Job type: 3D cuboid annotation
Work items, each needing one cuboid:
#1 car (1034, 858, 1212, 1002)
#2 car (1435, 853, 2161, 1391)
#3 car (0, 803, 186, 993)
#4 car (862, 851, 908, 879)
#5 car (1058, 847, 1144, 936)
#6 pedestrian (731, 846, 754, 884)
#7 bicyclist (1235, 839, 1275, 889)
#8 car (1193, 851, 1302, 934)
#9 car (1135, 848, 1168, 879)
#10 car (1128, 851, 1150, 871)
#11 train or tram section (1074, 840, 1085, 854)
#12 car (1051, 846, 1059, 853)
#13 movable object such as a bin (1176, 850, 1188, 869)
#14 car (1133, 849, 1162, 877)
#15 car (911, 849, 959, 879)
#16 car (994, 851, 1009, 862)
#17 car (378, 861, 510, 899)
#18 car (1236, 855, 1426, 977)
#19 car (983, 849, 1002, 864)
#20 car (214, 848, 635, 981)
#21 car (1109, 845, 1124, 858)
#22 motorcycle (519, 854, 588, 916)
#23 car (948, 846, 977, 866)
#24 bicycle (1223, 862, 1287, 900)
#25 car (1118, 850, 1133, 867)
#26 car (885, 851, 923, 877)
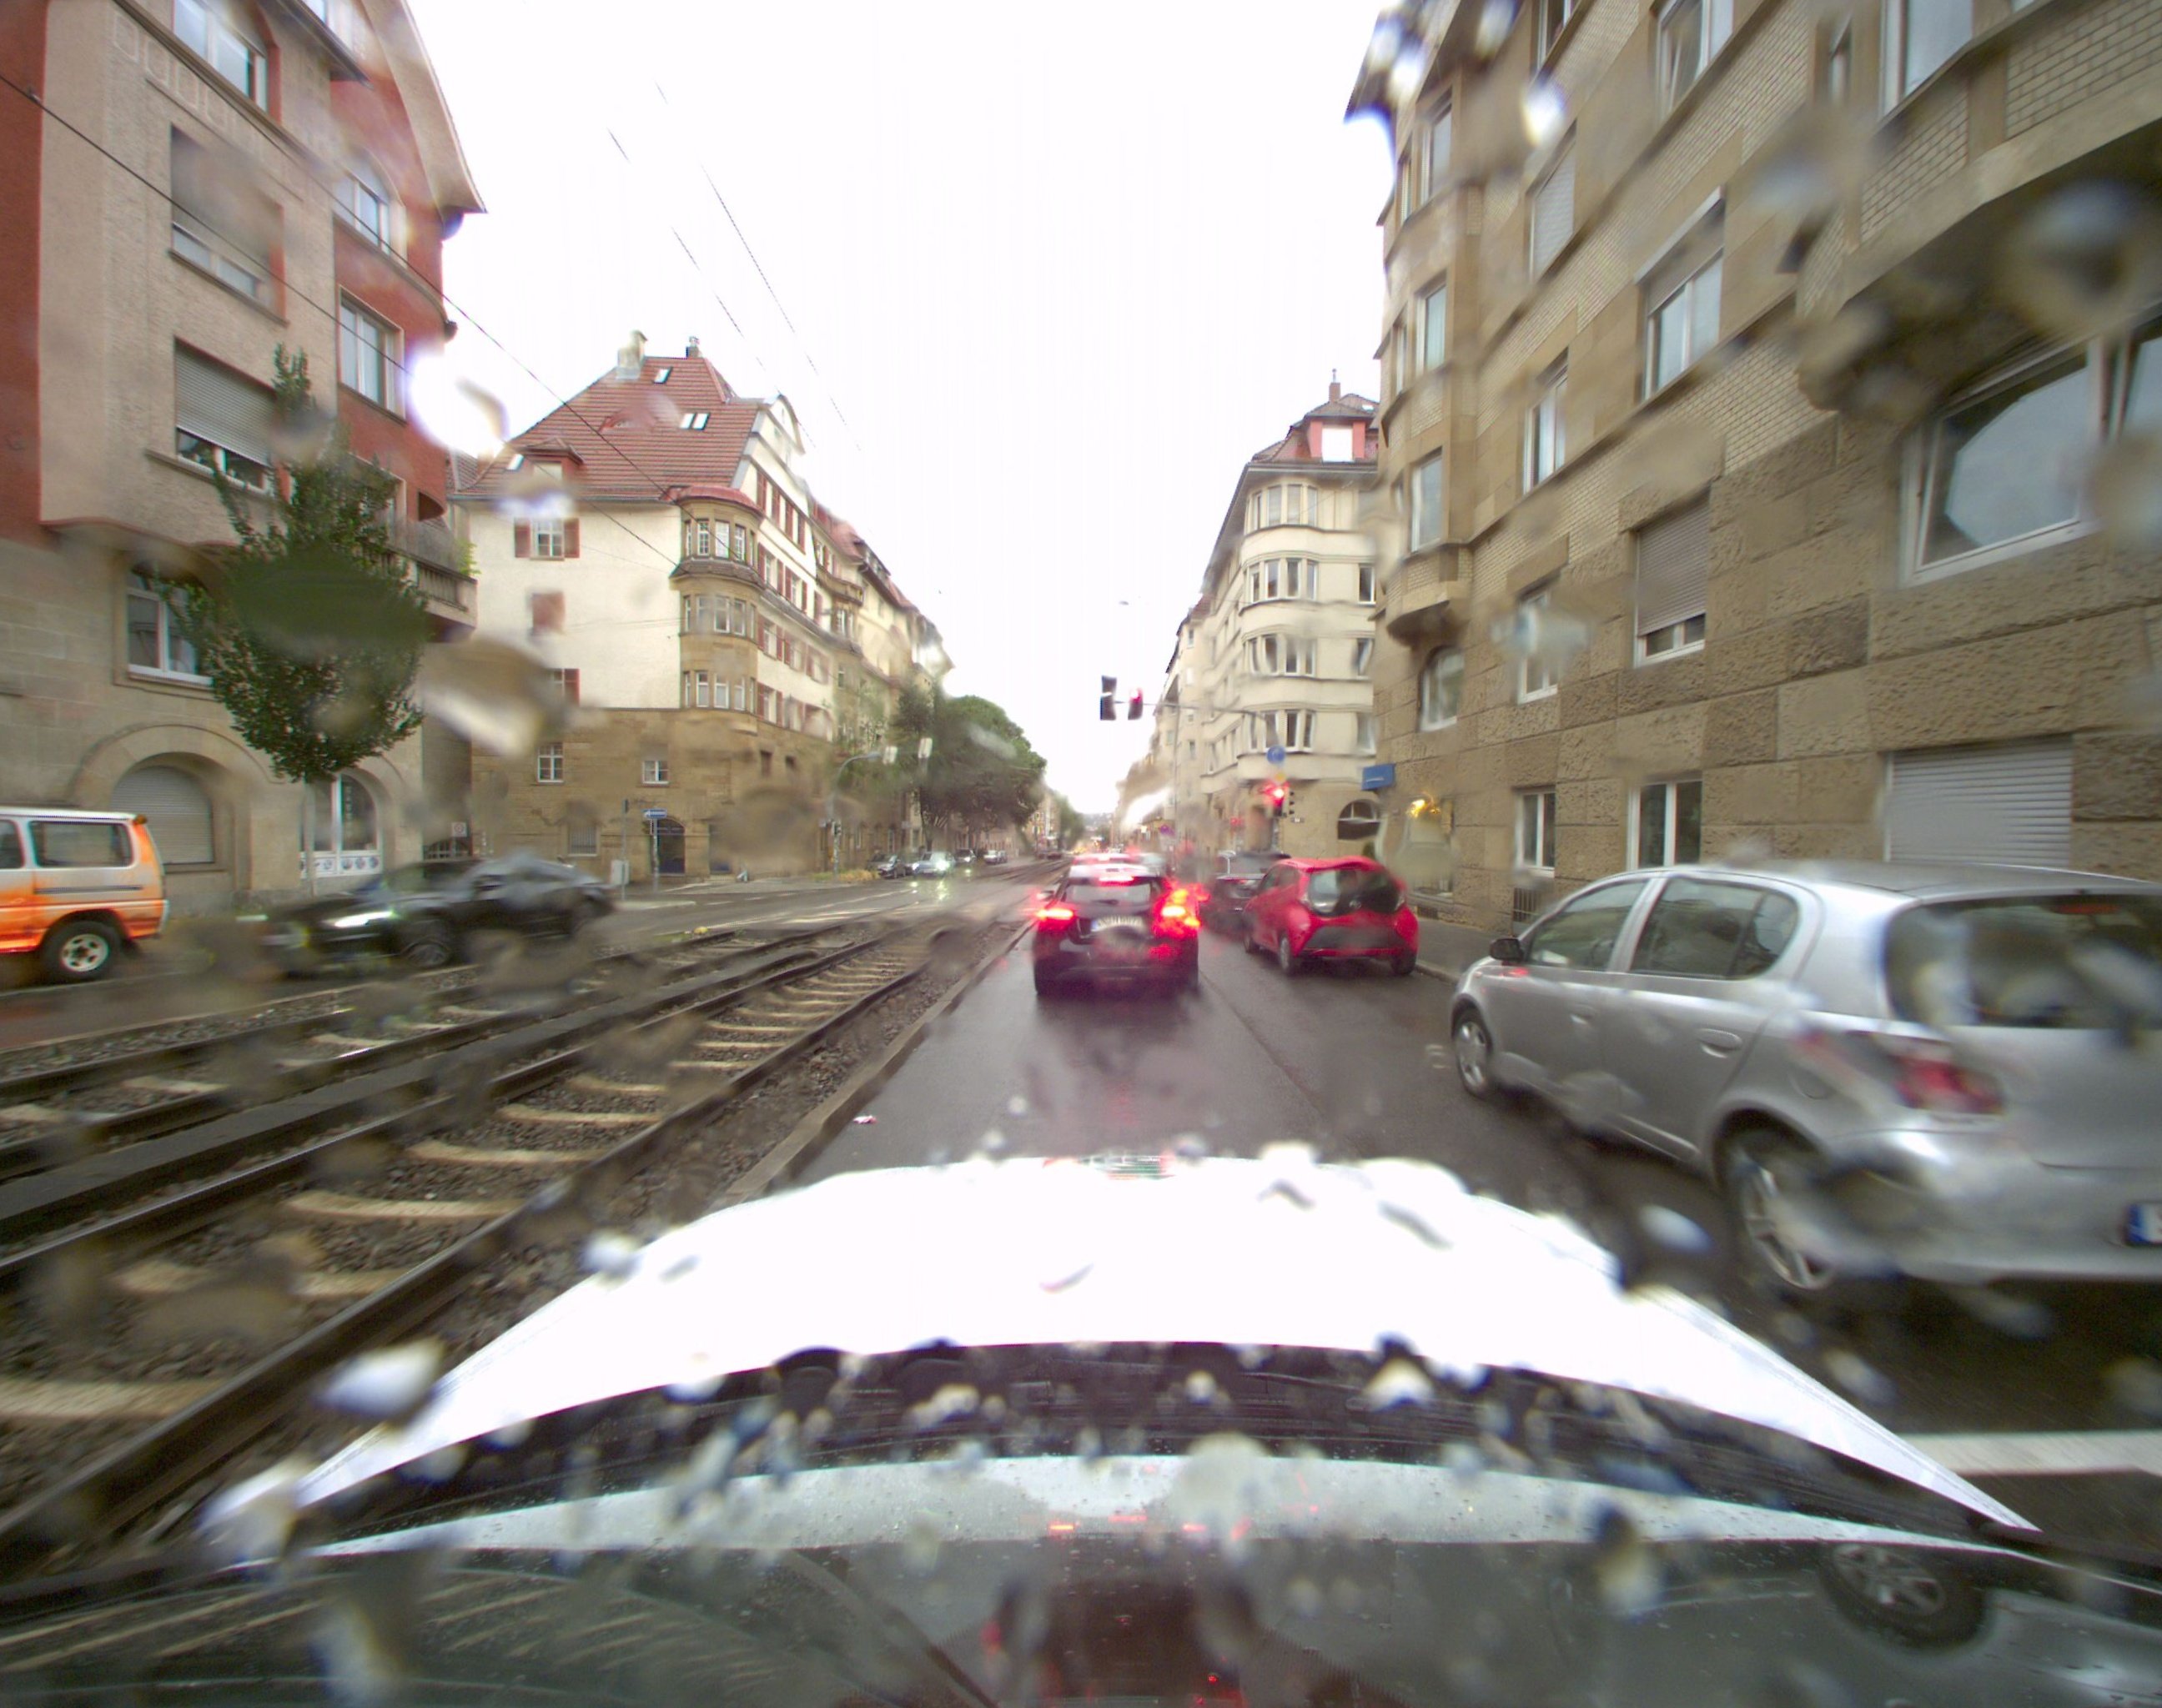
[{"bbox_3d":[0.493,0.785,10.379,1.822,1.458,4.105,0,0,2],"label":"car"},{"bbox_3d":[3.172,0.749,3.915,1.608,1.467,3.314,-1,0,3],"label":"car"},{"bbox_3d":[-12.096,0.456,8.027,1.725,1.975,4.341,0,-1,0],"label":"car"},{"bbox_3d":[-11.223,0.622,46.934,1.747,1.552,4.033,0,-1,-2],"label":"car"},{"bbox_3d":[0.420,0.702,16.774,1.559,1.609,3.815,0,-1,2],"label":"car"},{"bbox_3d":[-14.996,0.500,36.064,0.625,1.672,0.707,-1,-1,29],"label":"pedestrian"},{"bbox_3d":[5.684,0.327,26.635,1.241,1.597,0.889,-1,-1,10],"label":"bicyclist"},{"bbox_3d":[3.271,0.695,16.624,1.539,1.486,3.831,0,0,2],"label":"car"},{"bbox_3d":[3.733,0.484,43.516,1.539,1.590,3.549,0,0,2],"label":"car"},{"bbox_3d":[4.450,0.528,62.398,1.539,1.486,3.549,0,0,2],"label":"car"},{"bbox_3d":[-0.328,-2.006,236.719,2.772,3.861,10.433,0,-1,2],"label":"train or tram section"},{"bbox_3d":[-5.132,-0.868,162.469,1.372,1.249,3.297,0,-1,0],"label":"car"},{"bbox_3d":[7.508,0.426,60.370,0.873,1.389,0.984,0,-1,5],"label":"movable object such as a bin"},{"bbox_3d":[3.875,0.527,47.990,1.539,1.590,3.549,0,0,2],"label":"car"},{"bbox_3d":[-8.238,0.567,46.248,1.891,1.588,3.974,0,-1,2],"label":"car"},{"bbox_3d":[-9.756,0.268,99.830,1.443,1.331,3.271,0,-1,0],"label":"car"},{"bbox_3d":[-24.355,0.978,31.228,3.633,1.404,1.699,0,-1,-3],"label":"car"},{"bbox_3d":[3.304,0.741,11.380,1.637,1.448,3.298,0,0,-1],"label":"car"},{"bbox_3d":[-9.827,0.283,90.414,1.583,1.581,3.920,0,-1,2],"label":"car"},{"bbox_3d":[-8.968,0.694,11.895,1.794,1.523,4.972,0,0,5],"label":"car"},{"bbox_3d":[5.101,-0.352,117.578,1.986,1.876,4.001,0,-1,2],"label":"car"},{"bbox_3d":[-12.039,0.697,18.583,1.577,1.365,0.628,-1,-1,28],"label":"motorcycle"},{"bbox_3d":[-10.559,0.192,72.957,1.868,1.737,3.920,0,-1,2],"label":"car"},{"bbox_3d":[5.668,0.875,26.633,2.017,1.186,0.829,0,-1,11],"label":"bicycle"},{"bbox_3d":[4.063,0.400,74.488,1.289,1.442,2.930,0,0,2],"label":"car"},{"bbox_3d":[-11.253,0.627,51.969,1.713,1.611,3.914,0,-1,-3],"label":"car"}]
